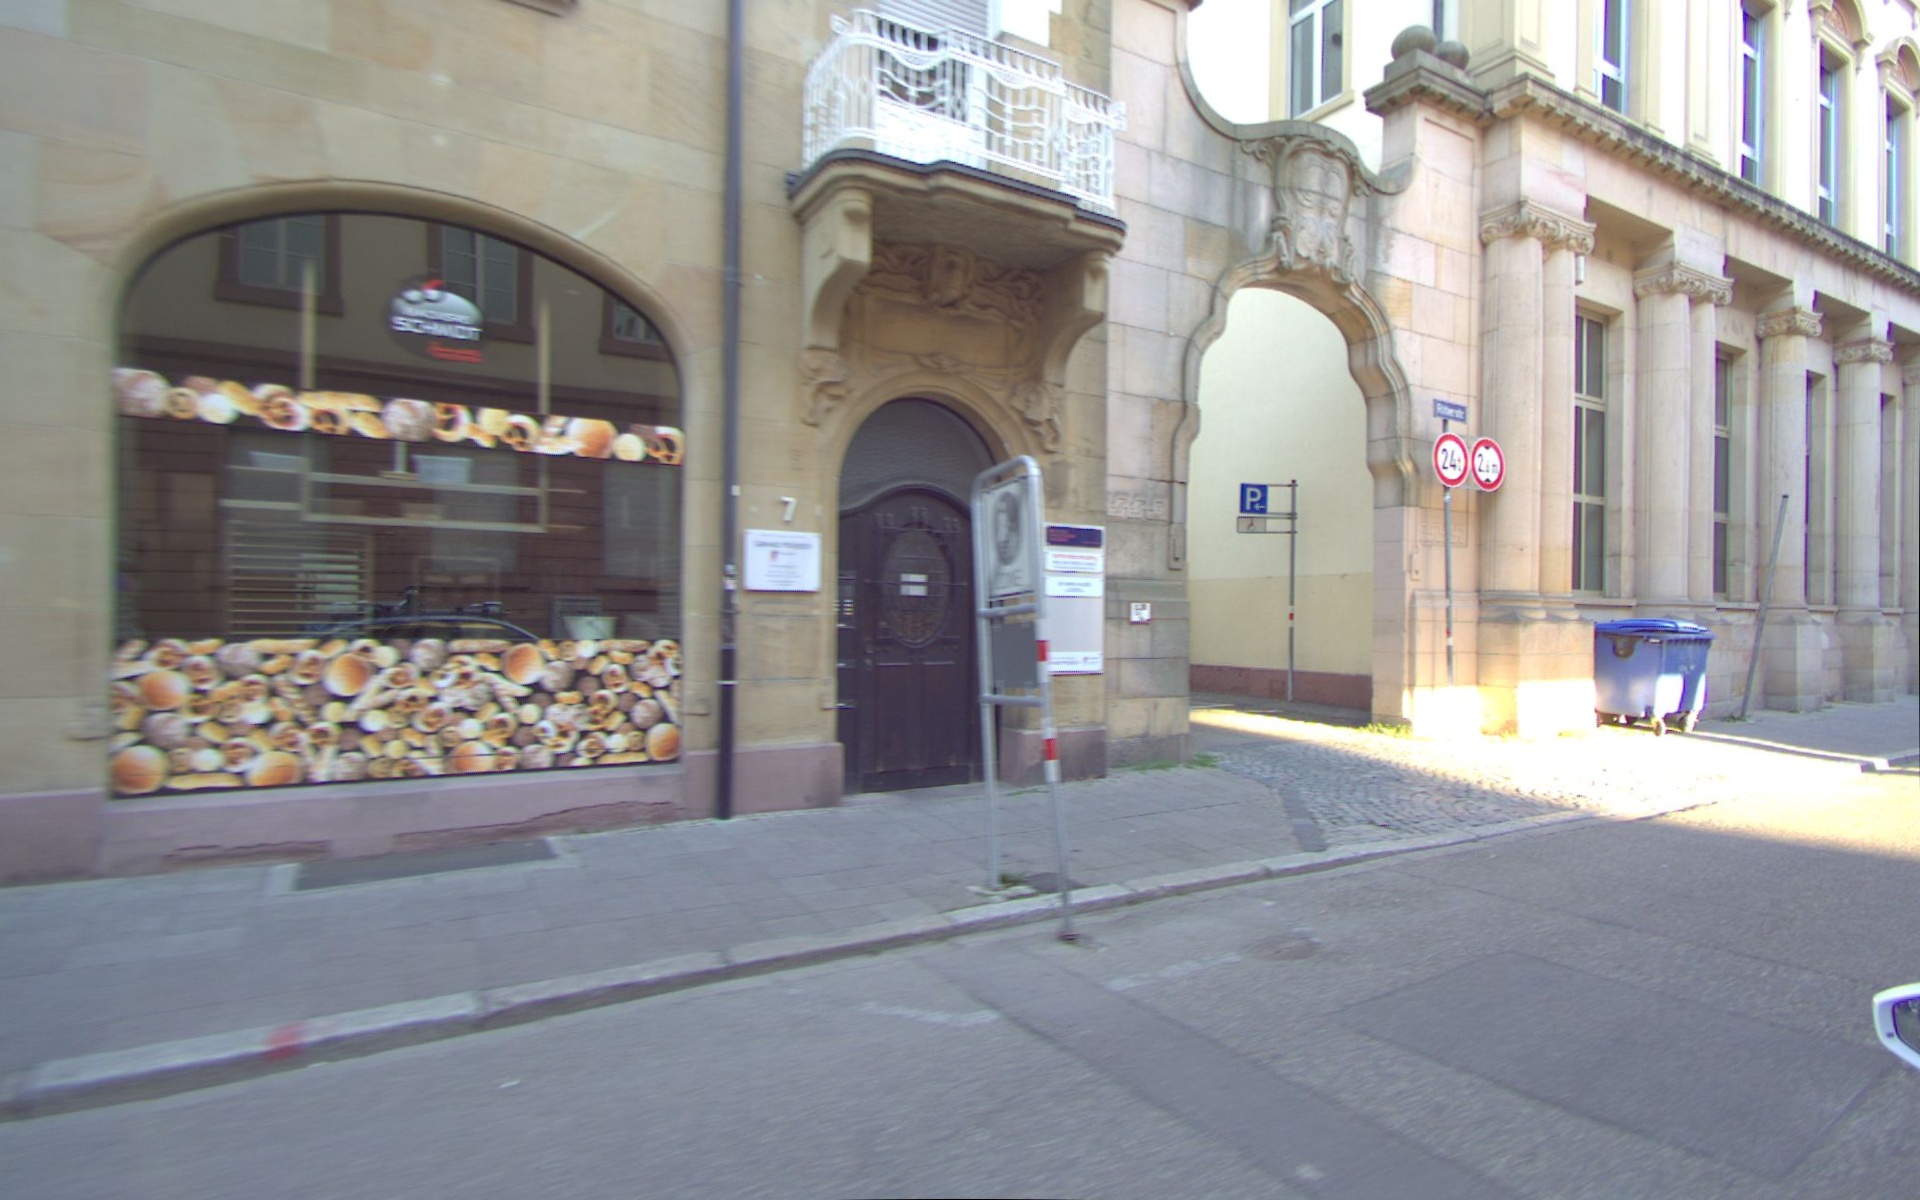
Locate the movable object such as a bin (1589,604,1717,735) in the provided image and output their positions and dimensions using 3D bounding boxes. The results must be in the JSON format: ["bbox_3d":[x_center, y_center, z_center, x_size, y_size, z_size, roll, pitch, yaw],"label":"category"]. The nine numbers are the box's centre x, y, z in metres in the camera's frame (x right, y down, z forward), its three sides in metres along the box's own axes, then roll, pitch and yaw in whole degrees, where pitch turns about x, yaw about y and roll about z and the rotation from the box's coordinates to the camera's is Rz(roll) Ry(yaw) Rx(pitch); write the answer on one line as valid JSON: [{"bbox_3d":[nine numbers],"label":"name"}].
[{"bbox_3d":[8.544,0.822,12.383,1.276,1.523,0.825,1,0,-30],"label":"movable object such as a bin"}]
